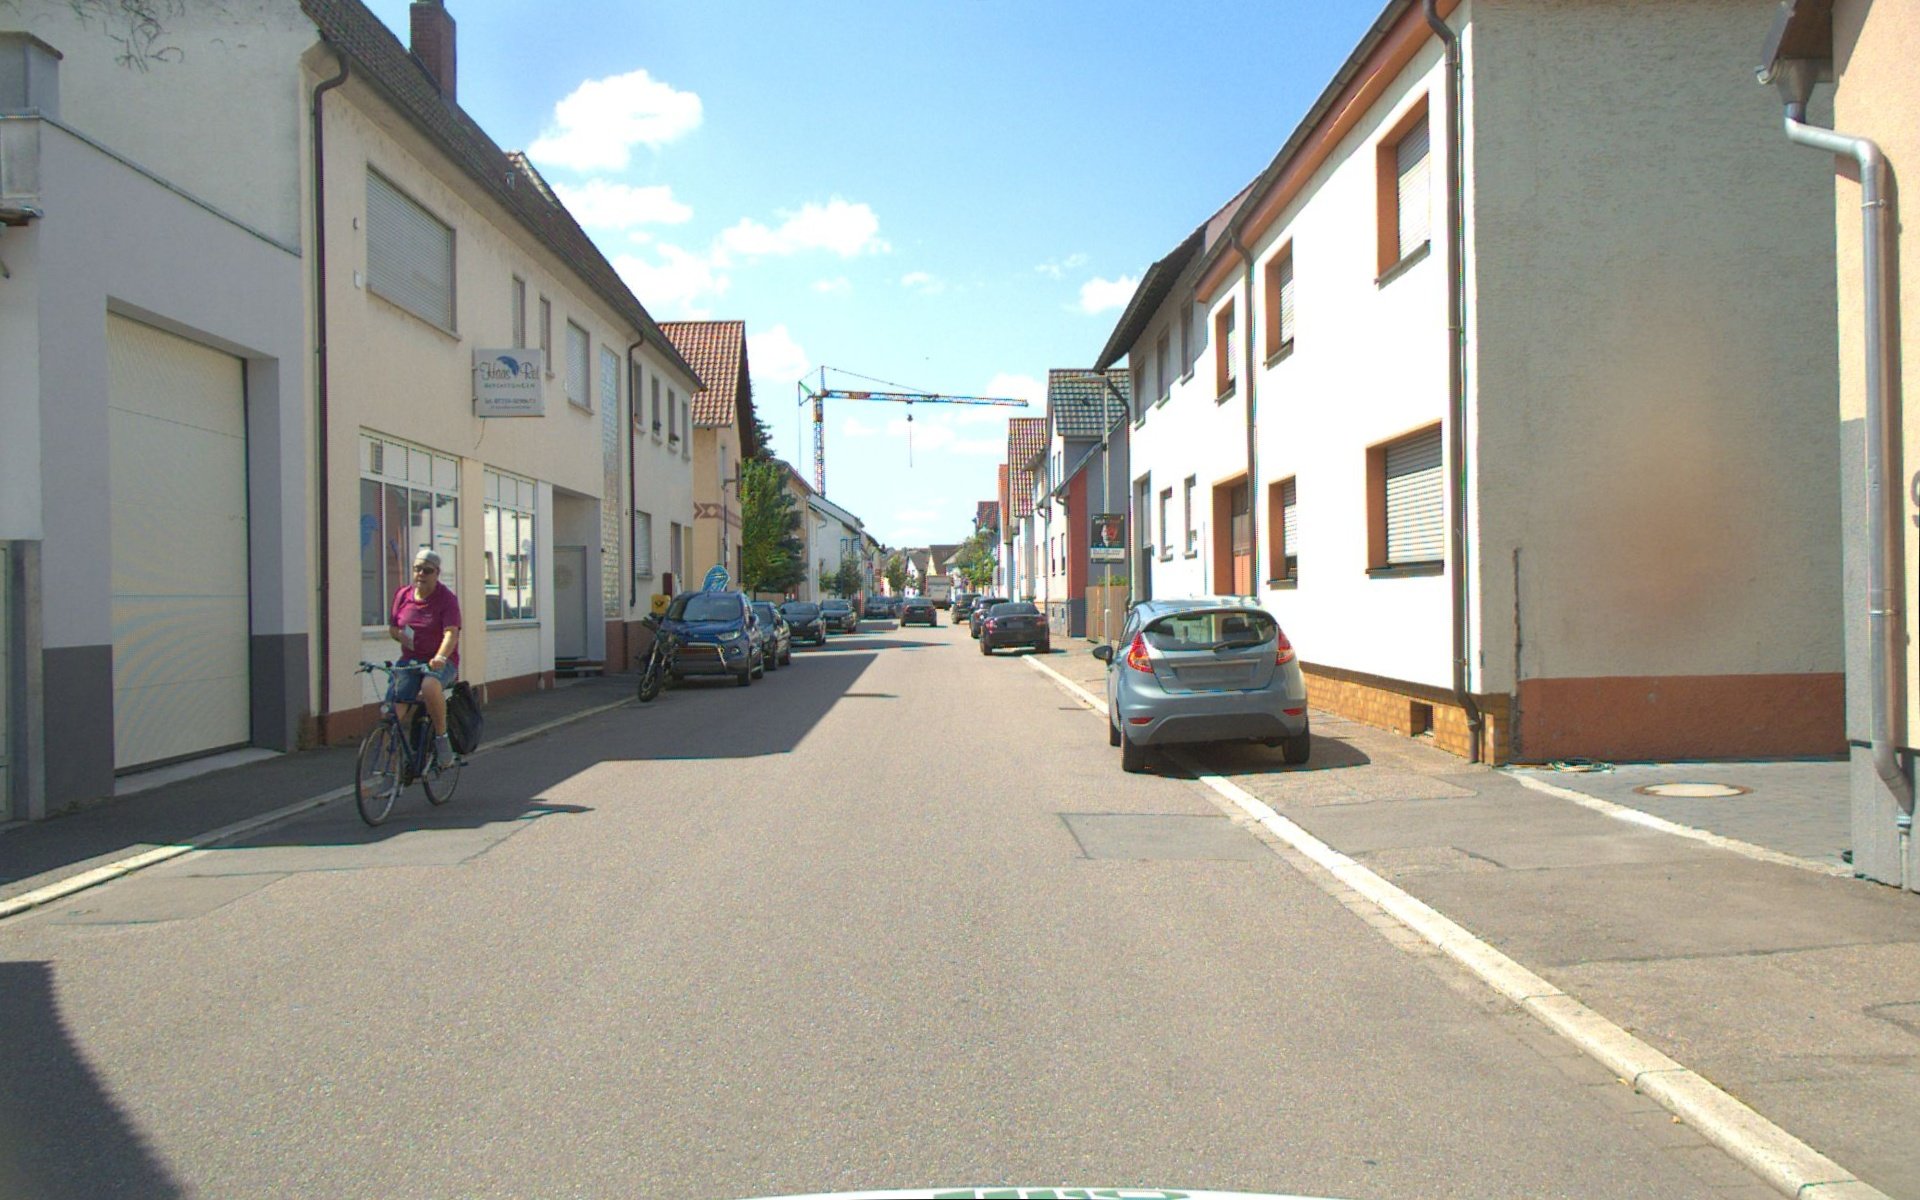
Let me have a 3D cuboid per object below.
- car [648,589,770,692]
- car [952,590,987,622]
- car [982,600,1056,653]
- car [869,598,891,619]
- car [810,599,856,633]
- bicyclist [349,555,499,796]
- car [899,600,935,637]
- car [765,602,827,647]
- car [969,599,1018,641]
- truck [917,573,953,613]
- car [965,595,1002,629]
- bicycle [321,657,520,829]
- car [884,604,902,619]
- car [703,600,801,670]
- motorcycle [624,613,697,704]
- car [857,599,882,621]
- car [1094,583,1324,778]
[{"bbox_3d":[-4.491,0.683,30.132,1.683,1.668,4.147,-3,0,-2],"label":"car"},{"bbox_3d":[0.502,0.344,93.097,1.694,1.747,4.273,-1,0,-3],"label":"car"},{"bbox_3d":[1.514,0.667,43.964,1.778,1.298,4.146,-1,0,0],"label":"car"},{"bbox_3d":[-6.389,0.688,131.724,1.620,1.637,4.059,-1,0,-2],"label":"car"},{"bbox_3d":[-5.758,0.720,75.400,1.732,1.485,4.436,-1,0,1],"label":"car"},{"bbox_3d":[-3.835,0.520,11.899,0.731,1.665,0.957,0,0,2],"label":"bicyclist"},{"bbox_3d":[-2.226,0.954,84.897,1.747,1.784,3.998,-2,0,-2],"label":"car"},{"bbox_3d":[-5.361,0.784,54.400,1.726,1.398,4.065,0,0,-1],"label":"car"},{"bbox_3d":[1.204,0.712,60.808,1.654,1.447,3.656,-1,0,-1],"label":"car"},{"bbox_3d":[-2.702,-0.666,176.152,3.311,3.933,13.919,-2,0,-2],"label":"truck"},{"bbox_3d":[1.140,0.547,80.840,1.584,1.521,3.970,-4,0,-1],"label":"car"},{"bbox_3d":[-3.830,0.977,11.914,0.727,1.066,1.940,0,0,2],"label":"bicycle"},{"bbox_3d":[-6.958,1.167,171.070,1.688,1.583,4.171,0,0,0],"label":"car"},{"bbox_3d":[-4.566,0.738,36.817,1.663,1.436,4.389,-1,0,-1],"label":"car"},{"bbox_3d":[-4.637,0.878,25.728,0.792,1.335,2.105,-1,0,-2],"label":"motorcycle"},{"bbox_3d":[-6.788,0.722,124.741,1.723,1.551,4.287,-1,0,-2],"label":"car"},{"bbox_3d":[2.231,0.666,15.691,1.686,1.507,3.751,-4,0,3],"label":"car"}]
